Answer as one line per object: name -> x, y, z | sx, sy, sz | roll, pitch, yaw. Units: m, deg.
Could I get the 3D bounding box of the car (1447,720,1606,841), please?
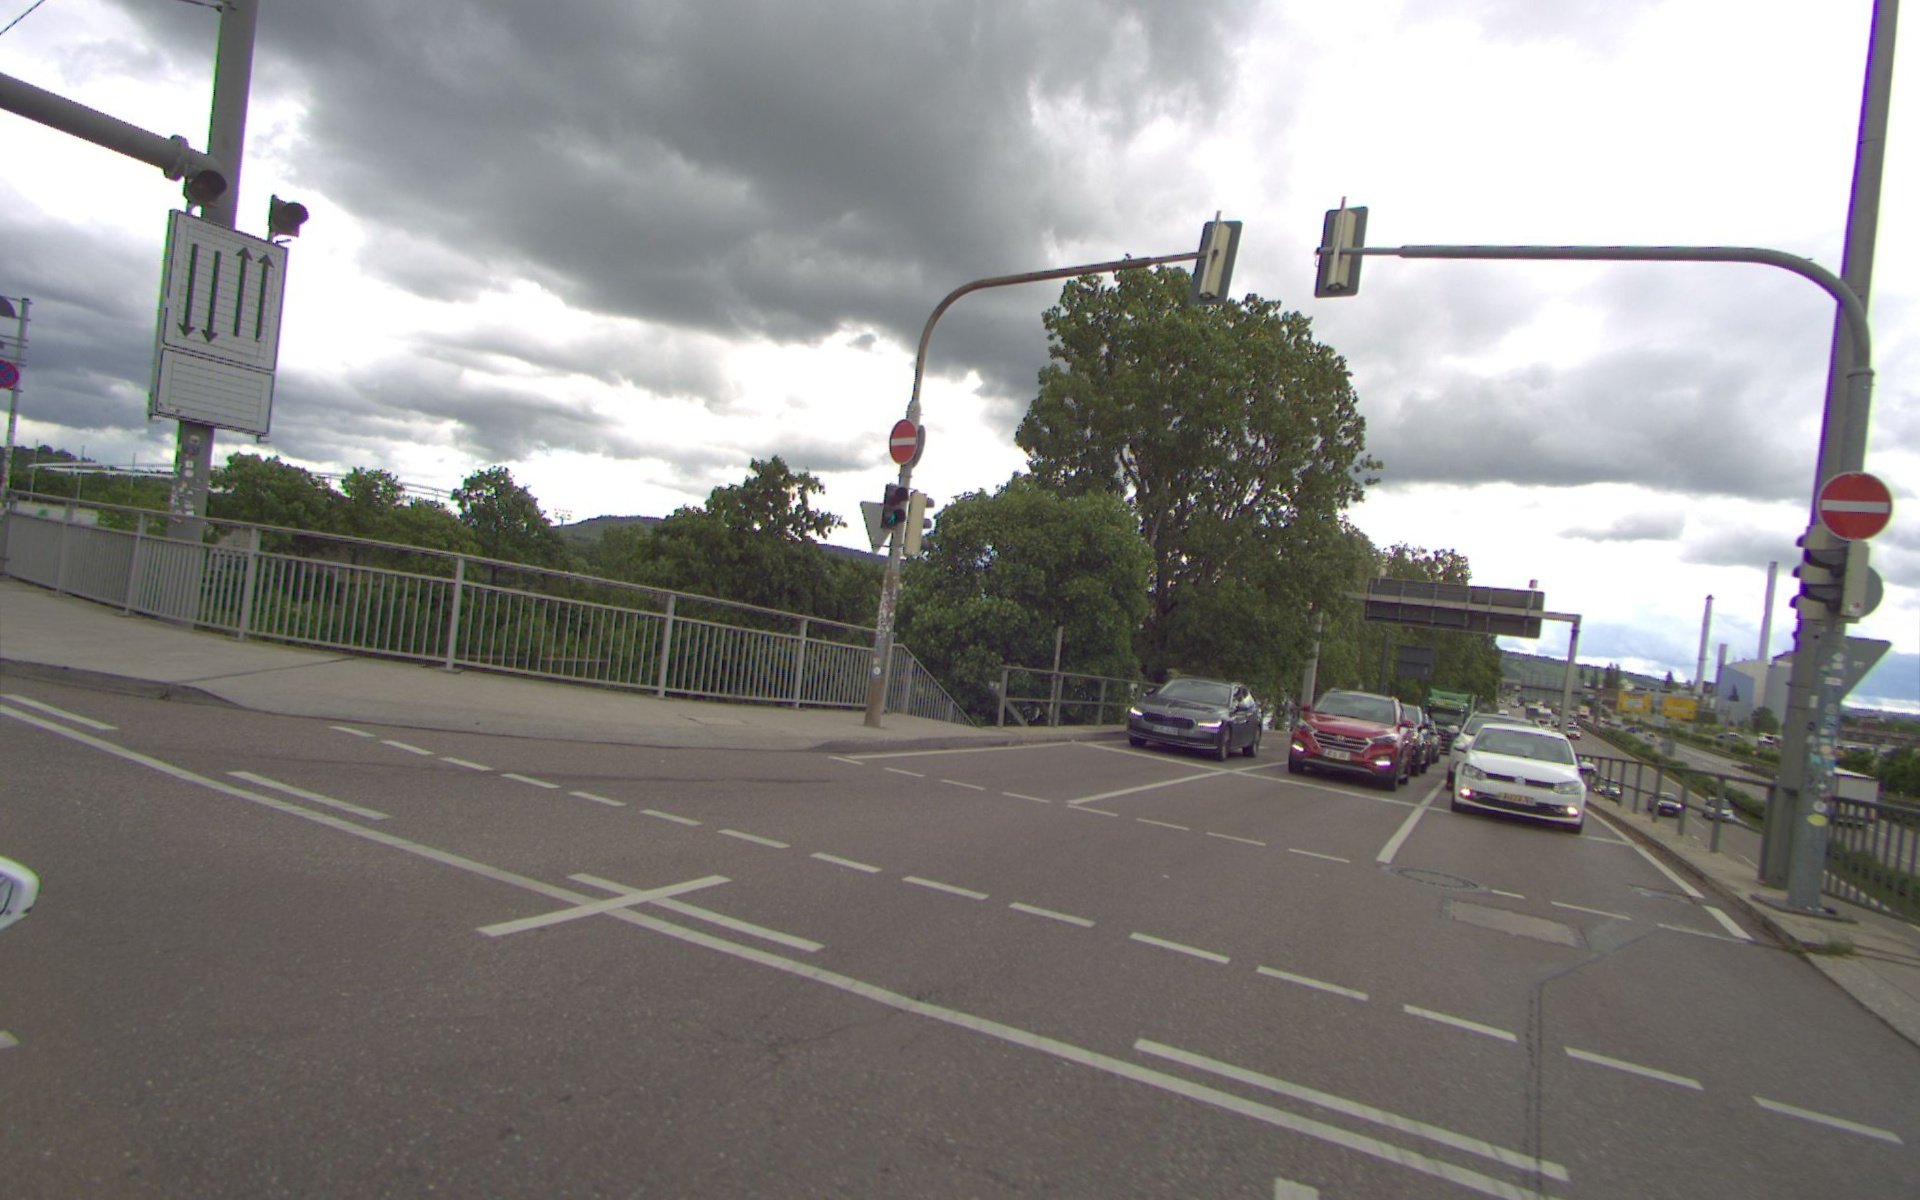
car -> 8.533, 2.624, 15.253 | 1.760, 1.327, 3.764 | 6, -3, 29

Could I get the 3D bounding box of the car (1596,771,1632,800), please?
car -> 51.895, 14.697, 79.861 | 1.966, 1.725, 4.078 | 6, -3, 29

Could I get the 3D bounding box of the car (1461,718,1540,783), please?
car -> 17.290, 4.758, 32.138 | 1.966, 1.635, 3.998 | 6, -3, 30

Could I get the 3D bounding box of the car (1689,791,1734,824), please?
car -> 55.149, 15.195, 73.871 | 1.966, 1.725, 4.078 | 6, -3, 29

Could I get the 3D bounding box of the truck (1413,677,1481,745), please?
truck -> 30.523, 6.873, 62.876 | 2.735, 3.552, 9.244 | 8, -1, 31

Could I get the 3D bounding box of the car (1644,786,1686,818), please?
car -> 51.715, 14.799, 73.849 | 1.966, 1.725, 4.078 | 6, -3, 29

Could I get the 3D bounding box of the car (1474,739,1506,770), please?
car -> 42.224, 12.291, 80.176 | 1.965, 1.691, 3.764 | 8, 2, 26

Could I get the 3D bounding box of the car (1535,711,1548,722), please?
car -> 111.874, 22.440, 193.620 | 1.966, 1.725, 4.078 | 6, -3, 29

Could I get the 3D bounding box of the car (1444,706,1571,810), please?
car -> 11.339, 3.195, 20.766 | 1.967, 1.637, 4.340 | 6, -3, 31

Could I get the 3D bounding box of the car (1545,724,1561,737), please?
car -> 95.956, 21.151, 162.847 | 1.966, 1.725, 4.078 | 6, -3, 29

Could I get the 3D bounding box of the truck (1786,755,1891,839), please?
truck -> 72.590, 16.079, 83.519 | 3.527, 4.545, 13.147 | 8, 2, 30

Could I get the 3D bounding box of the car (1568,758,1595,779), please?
car -> 63.293, 17.134, 102.436 | 1.966, 1.725, 4.078 | 6, -3, 29

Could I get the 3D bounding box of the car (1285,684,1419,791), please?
car -> 7.341, 2.508, 18.607 | 1.667, 1.556, 4.007 | 6, -3, 29

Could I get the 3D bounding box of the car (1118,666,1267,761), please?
car -> 4.621, 2.212, 19.519 | 1.667, 1.436, 4.152 | 6, -3, 29
